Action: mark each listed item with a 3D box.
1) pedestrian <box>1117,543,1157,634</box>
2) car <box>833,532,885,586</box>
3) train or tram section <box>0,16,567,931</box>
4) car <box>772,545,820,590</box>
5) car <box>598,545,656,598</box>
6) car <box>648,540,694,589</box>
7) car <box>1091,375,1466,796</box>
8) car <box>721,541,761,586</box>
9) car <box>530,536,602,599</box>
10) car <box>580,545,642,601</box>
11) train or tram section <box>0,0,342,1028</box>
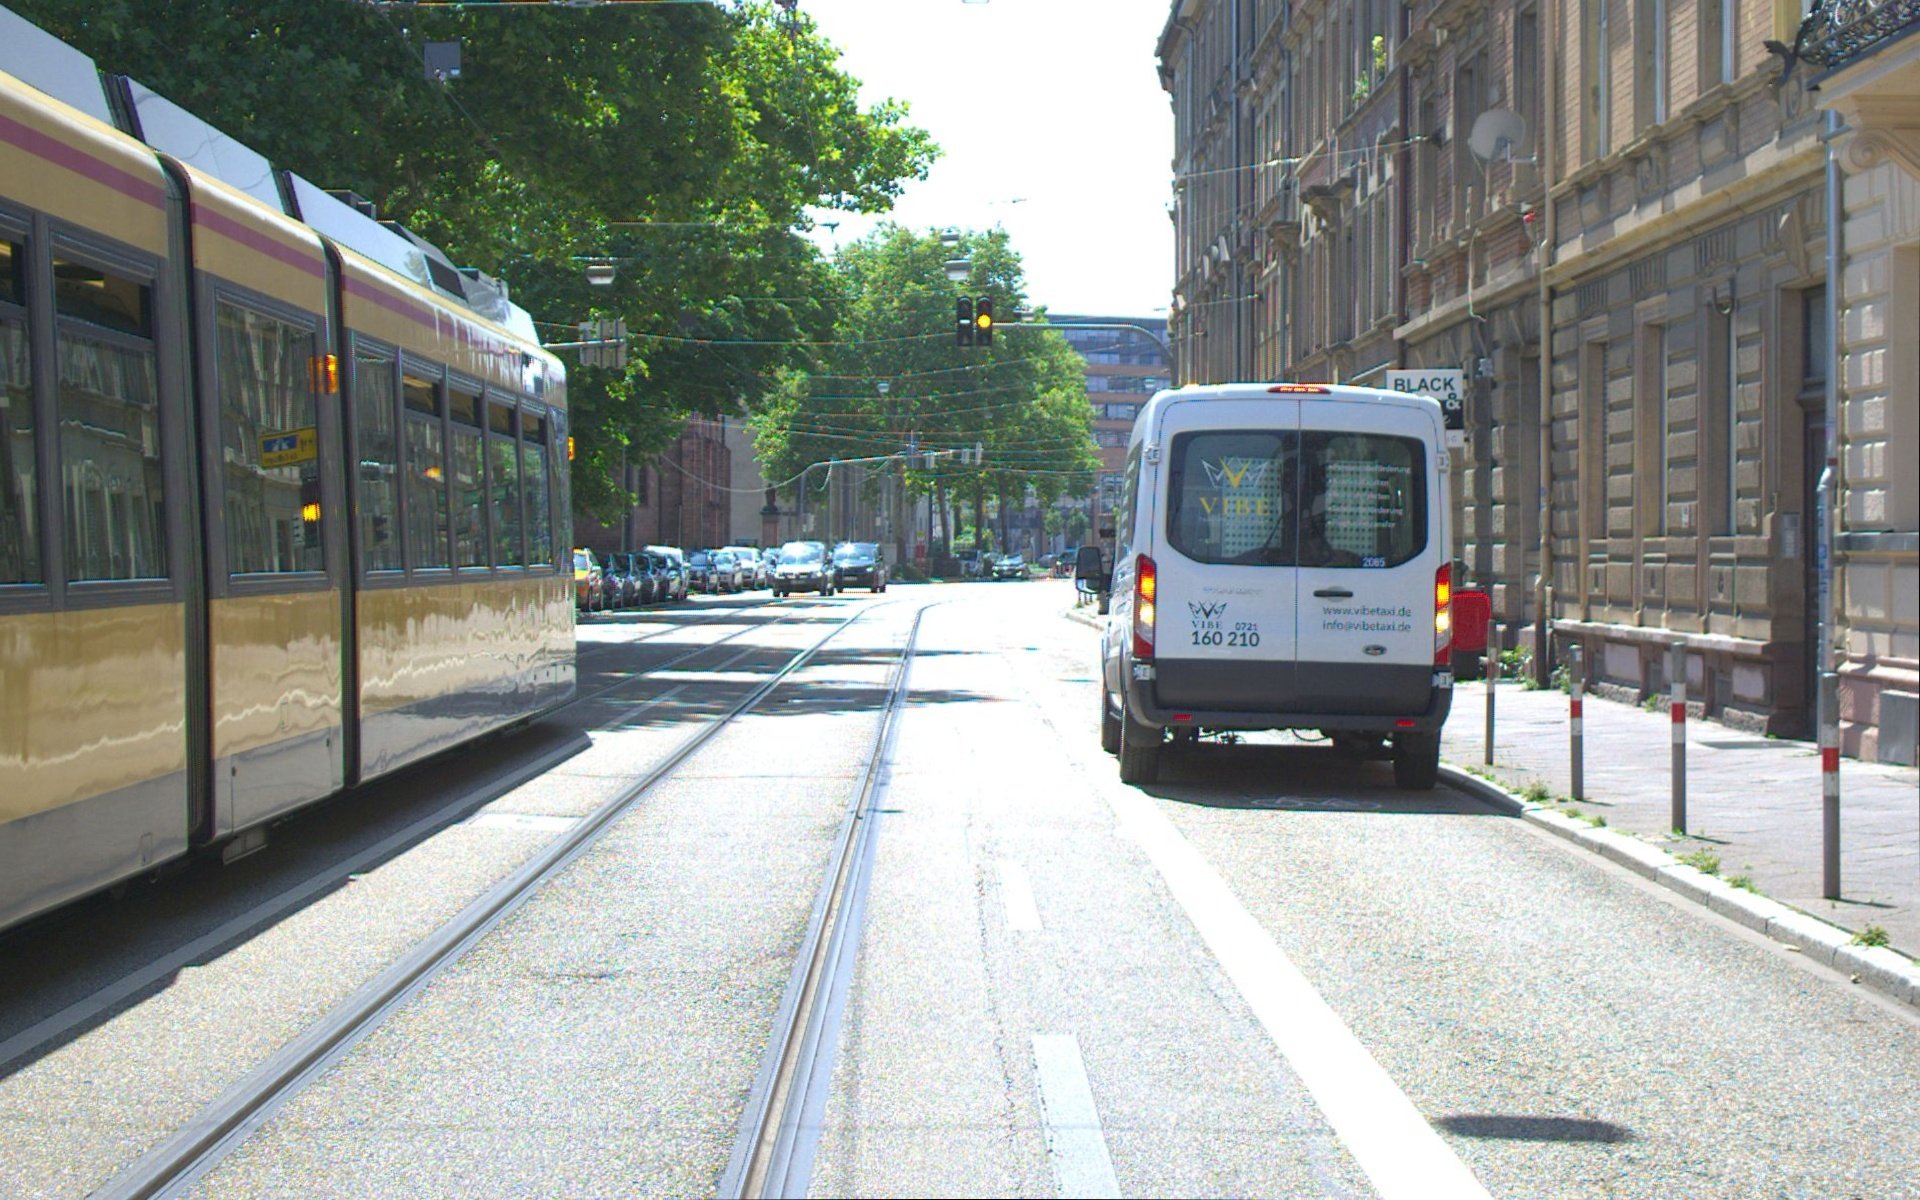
[{"bbox_3d":[3.034,-0.199,59.007,0.618,1.533,0.464,1,1,-1],"label":"pedestrian"},{"bbox_3d":[-3.563,-1.443,120.774,1.673,1.853,4.001,1,1,-3],"label":"car"},{"bbox_3d":[-4.479,-0.614,20.140,2.960,3.568,13.424,0,1,-1],"label":"train or tram section"},{"bbox_3d":[-5.419,-1.086,113.523,1.528,1.404,3.490,1,1,-2],"label":"car"},{"bbox_3d":[-9.677,-0.837,100.040,1.454,1.491,3.663,1,1,-2],"label":"car"},{"bbox_3d":[-10.342,-1.279,123.113,1.454,1.725,3.194,1,1,-2],"label":"car"},{"bbox_3d":[2.026,-0.134,23.467,2.067,2.492,5.454,1,1,1],"label":"car"},{"bbox_3d":[-8.508,-1.424,133.734,1.454,1.725,3.194,1,1,-2],"label":"car"},{"bbox_3d":[-9.590,-0.807,83.843,1.454,1.491,3.663,1,1,-2],"label":"car"},{"bbox_3d":[-9.547,-0.750,94.322,1.454,1.491,3.663,1,1,-2],"label":"car"},{"bbox_3d":[-4.392,-0.478,9.879,2.960,3.568,13.424,0,1,-1],"label":"train or tram section"}]
